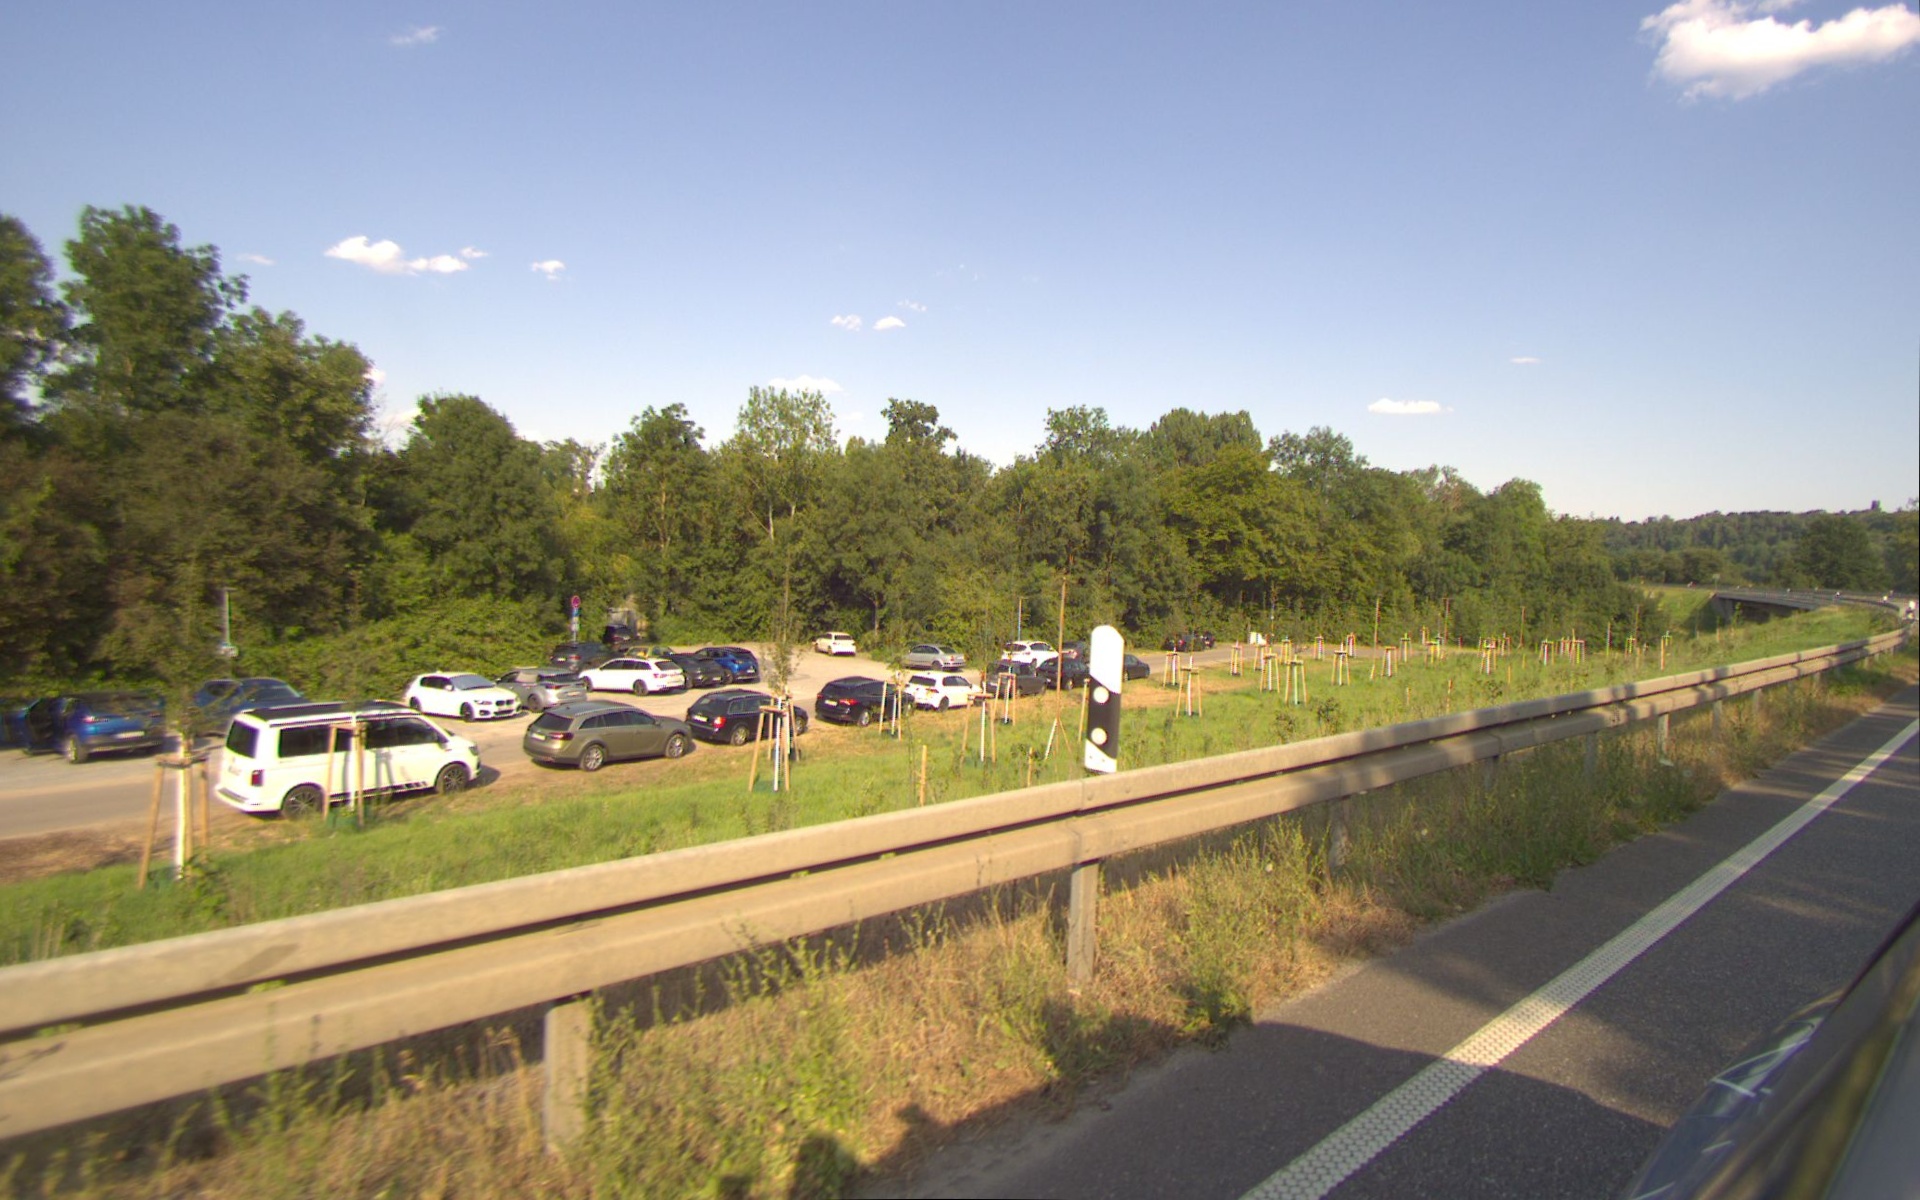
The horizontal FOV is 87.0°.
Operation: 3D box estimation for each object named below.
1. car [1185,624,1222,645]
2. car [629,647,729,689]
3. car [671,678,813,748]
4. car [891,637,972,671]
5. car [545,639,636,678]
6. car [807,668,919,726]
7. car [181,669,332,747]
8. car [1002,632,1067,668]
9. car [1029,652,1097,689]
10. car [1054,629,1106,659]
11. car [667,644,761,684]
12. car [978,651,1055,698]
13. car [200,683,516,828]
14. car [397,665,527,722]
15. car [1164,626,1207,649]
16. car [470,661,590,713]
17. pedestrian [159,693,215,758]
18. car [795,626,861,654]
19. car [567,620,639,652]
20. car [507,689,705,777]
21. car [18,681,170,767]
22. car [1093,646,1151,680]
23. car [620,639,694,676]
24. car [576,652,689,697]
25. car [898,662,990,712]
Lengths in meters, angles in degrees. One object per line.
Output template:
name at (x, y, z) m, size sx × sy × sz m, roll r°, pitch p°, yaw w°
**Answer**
car at (19.856, 2.795, 82.593) m, size 1.626 × 1.515 × 3.691 m, roll 0°, pitch 2°, yaw -8°
car at (-12.227, 2.922, 43.962) m, size 4.206 × 1.474 × 1.602 m, roll 2°, pitch 0°, yaw 28°
car at (-6.568, 3.383, 30.990) m, size 1.808 × 1.500 × 4.350 m, roll 4°, pitch 2°, yaw 29°
car at (-1.547, 2.899, 54.832) m, size 4.217 × 1.474 × 1.598 m, roll 3°, pitch 1°, yaw 34°
car at (-17.231, 2.716, 47.402) m, size 1.599 × 1.474 × 4.216 m, roll 3°, pitch 1°, yaw 22°
car at (-3.362, 3.386, 35.883) m, size 1.808 × 1.500 × 4.350 m, roll 4°, pitch 2°, yaw 29°
car at (-19.946, 2.985, 28.670) m, size 4.208 × 1.764 × 1.815 m, roll 1°, pitch 0°, yaw 28°
car at (4.316, 2.826, 57.863) m, size 1.648 × 1.687 × 4.652 m, roll 2°, pitch 2°, yaw 34°
car at (5.121, 3.421, 49.959) m, size 1.808 × 1.418 × 4.213 m, roll 4°, pitch 2°, yaw 29°
car at (7.442, 2.703, 62.553) m, size 1.646 × 1.515 × 4.178 m, roll 2°, pitch 2°, yaw 31°
car at (-11.337, 2.912, 46.566) m, size 4.207 × 1.474 × 1.602 m, roll 2°, pitch 1°, yaw 28°
car at (2.615, 3.337, 45.796) m, size 1.808 × 1.679 × 4.213 m, roll 4°, pitch 2°, yaw 29°
car at (-12.480, 3.092, 21.414) m, size 2.112 × 2.042 × 5.316 m, roll 6°, pitch 3°, yaw 33°
car at (-16.447, 3.042, 33.410) m, size 4.208 × 1.517 × 1.754 m, roll 0°, pitch 0°, yaw 28°
car at (17.169, 2.843, 77.069) m, size 1.652 × 1.515 × 3.774 m, roll 2°, pitch 3°, yaw 40°
car at (-15.145, 3.026, 35.628) m, size 4.206 × 1.474 × 1.602 m, roll 1°, pitch 1°, yaw 28°
pedestrian at (-19.485, 3.150, 25.537) m, size 0.870 × 1.489 × 0.924 m, roll 3°, pitch 2°, yaw -23°
car at (-8.286, 2.500, 63.346) m, size 4.227 × 1.474 × 1.688 m, roll 2°, pitch 1°, yaw 39°
car at (-21.416, 2.150, 60.741) m, size 4.208 × 1.473 × 1.602 m, roll 5°, pitch 2°, yaw 27°
car at (-9.191, 3.395, 26.653) m, size 1.885 × 1.500 × 4.726 m, roll 6°, pitch 3°, yaw 33°
car at (-21.867, 3.046, 25.519) m, size 4.216 × 1.624 × 1.812 m, roll 1°, pitch 1°, yaw 33°
car at (8.906, 3.411, 55.457) m, size 1.647 × 1.515 × 4.174 m, roll 2°, pitch 1°, yaw 32°
car at (-14.676, 2.743, 49.151) m, size 1.482 × 1.474 × 3.649 m, roll 3°, pitch 1°, yaw 22°
car at (-13.313, 2.969, 41.107) m, size 4.367 × 1.474 × 1.721 m, roll 1°, pitch 0°, yaw 24°
car at (-0.584, 3.425, 40.374) m, size 1.808 × 1.500 × 4.213 m, roll 4°, pitch 2°, yaw 29°
